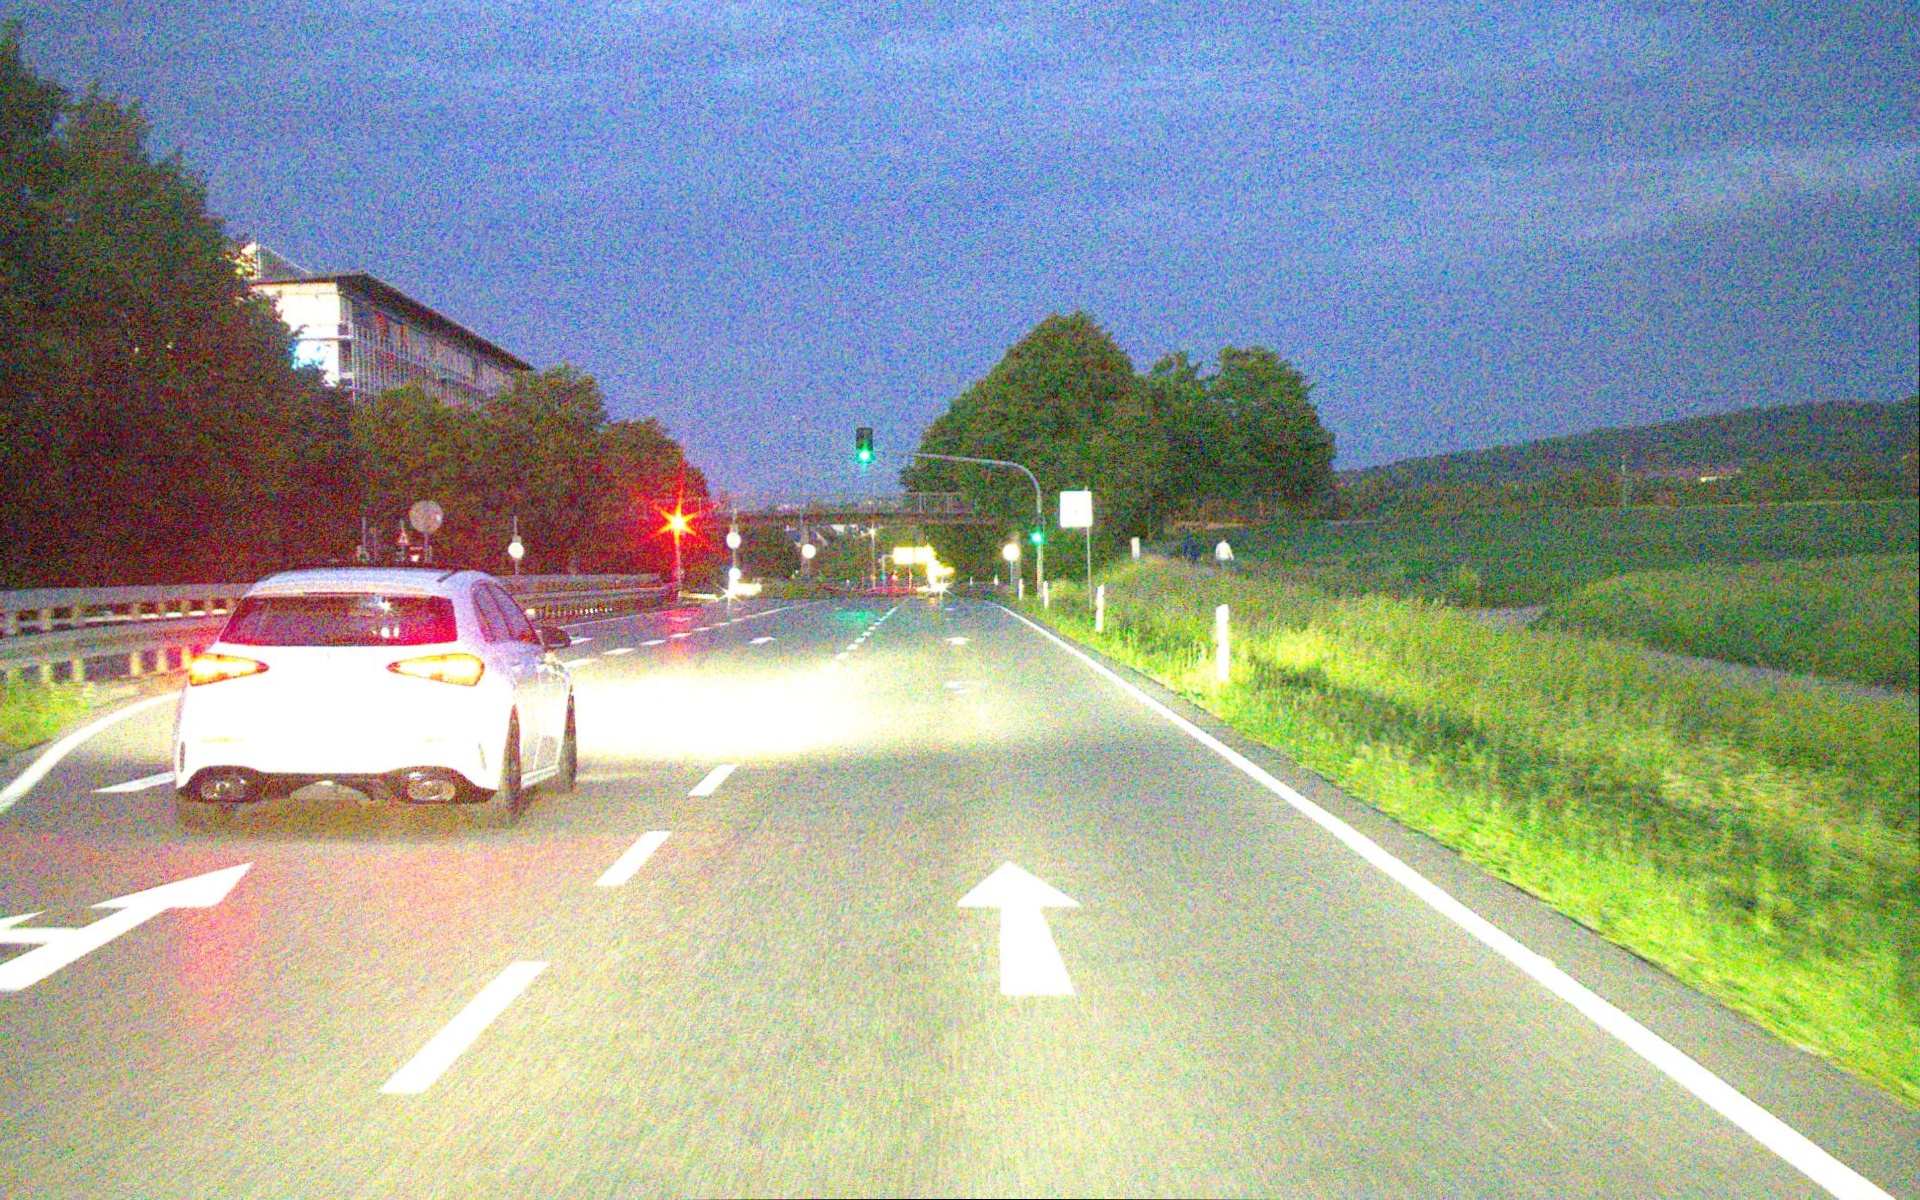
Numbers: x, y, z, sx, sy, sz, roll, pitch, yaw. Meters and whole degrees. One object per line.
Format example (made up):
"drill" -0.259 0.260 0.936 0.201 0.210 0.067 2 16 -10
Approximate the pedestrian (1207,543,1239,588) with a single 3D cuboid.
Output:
"pedestrian" 9.949 -1.305 130.004 1.090 1.717 1.260 0 0 -1

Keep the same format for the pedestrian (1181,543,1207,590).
"pedestrian" 8.839 -1.272 129.939 0.921 1.787 1.106 0 1 0

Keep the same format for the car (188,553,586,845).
"car" -3.196 0.479 19.962 1.642 1.485 4.580 0 1 -1
